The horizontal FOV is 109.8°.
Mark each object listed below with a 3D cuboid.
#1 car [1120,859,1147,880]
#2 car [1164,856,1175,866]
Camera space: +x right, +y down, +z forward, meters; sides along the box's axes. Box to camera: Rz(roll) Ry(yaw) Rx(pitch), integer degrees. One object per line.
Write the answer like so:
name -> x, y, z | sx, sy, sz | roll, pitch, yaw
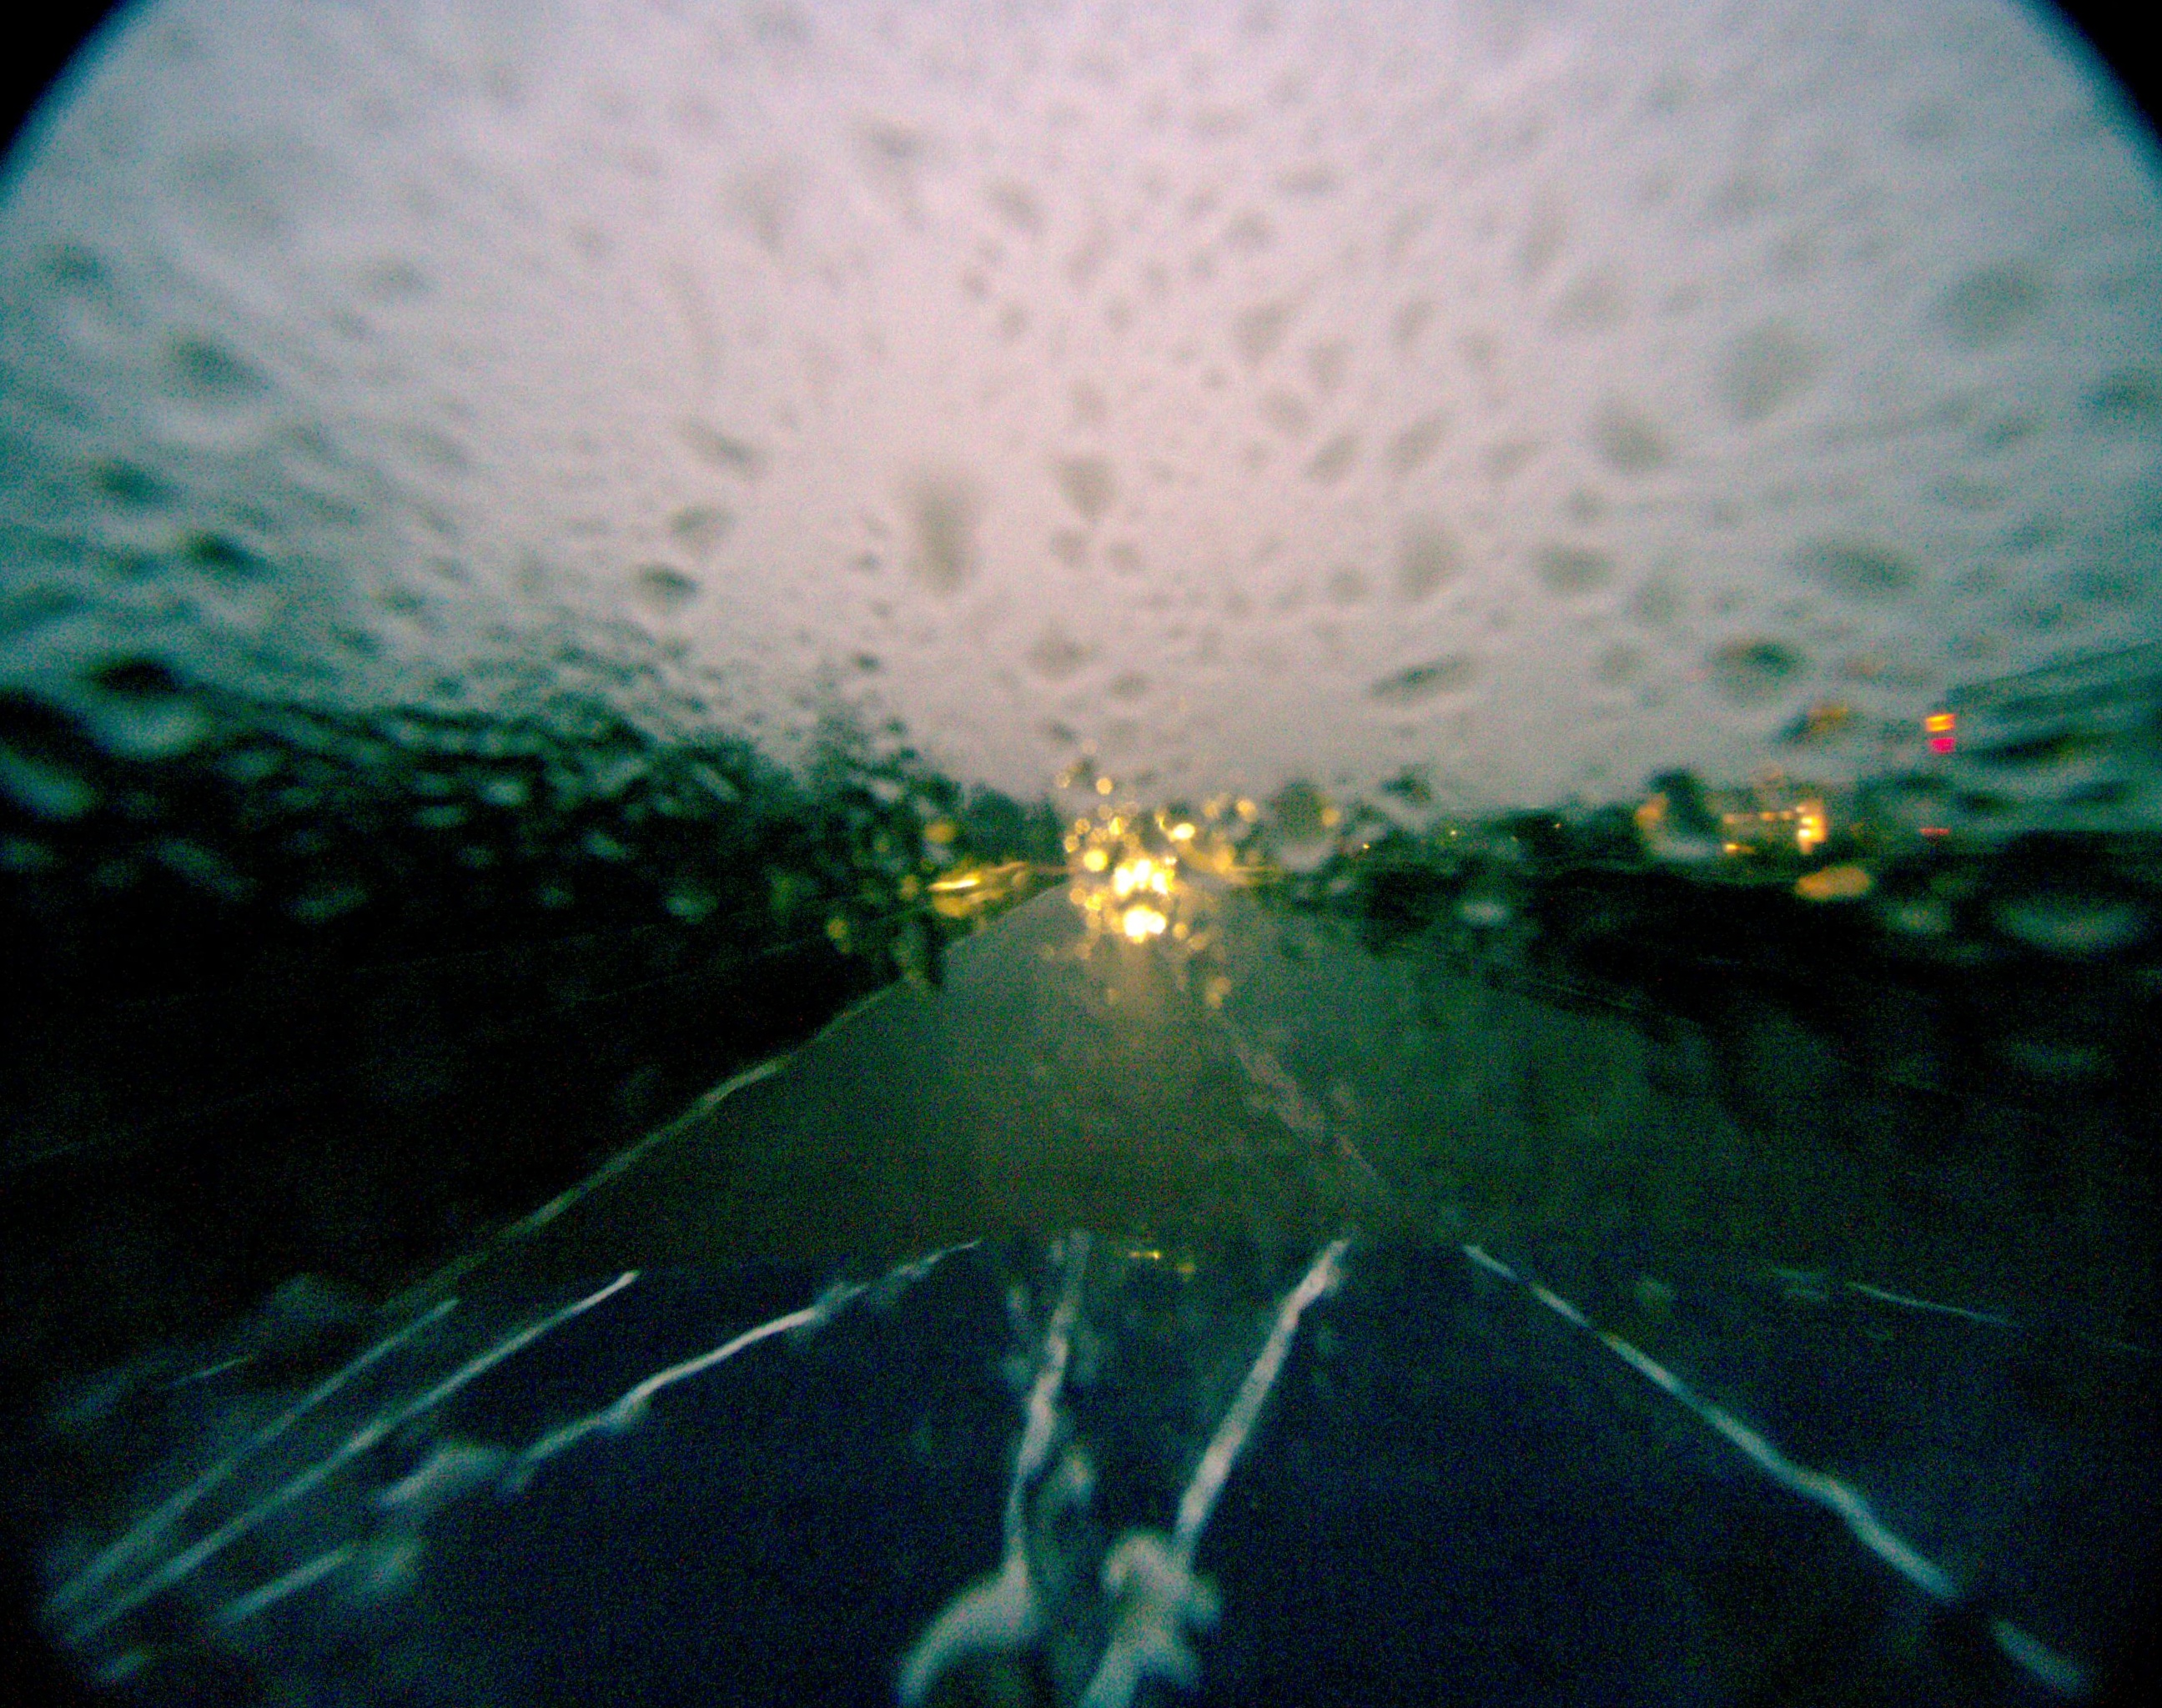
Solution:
car -> 4.199, 1.197, 61.253 | 1.886, 1.514, 3.999 | -3, 1, 0
car -> 16.079, 1.262, 138.029 | 1.998, 1.838, 3.674 | -2, 0, 6
